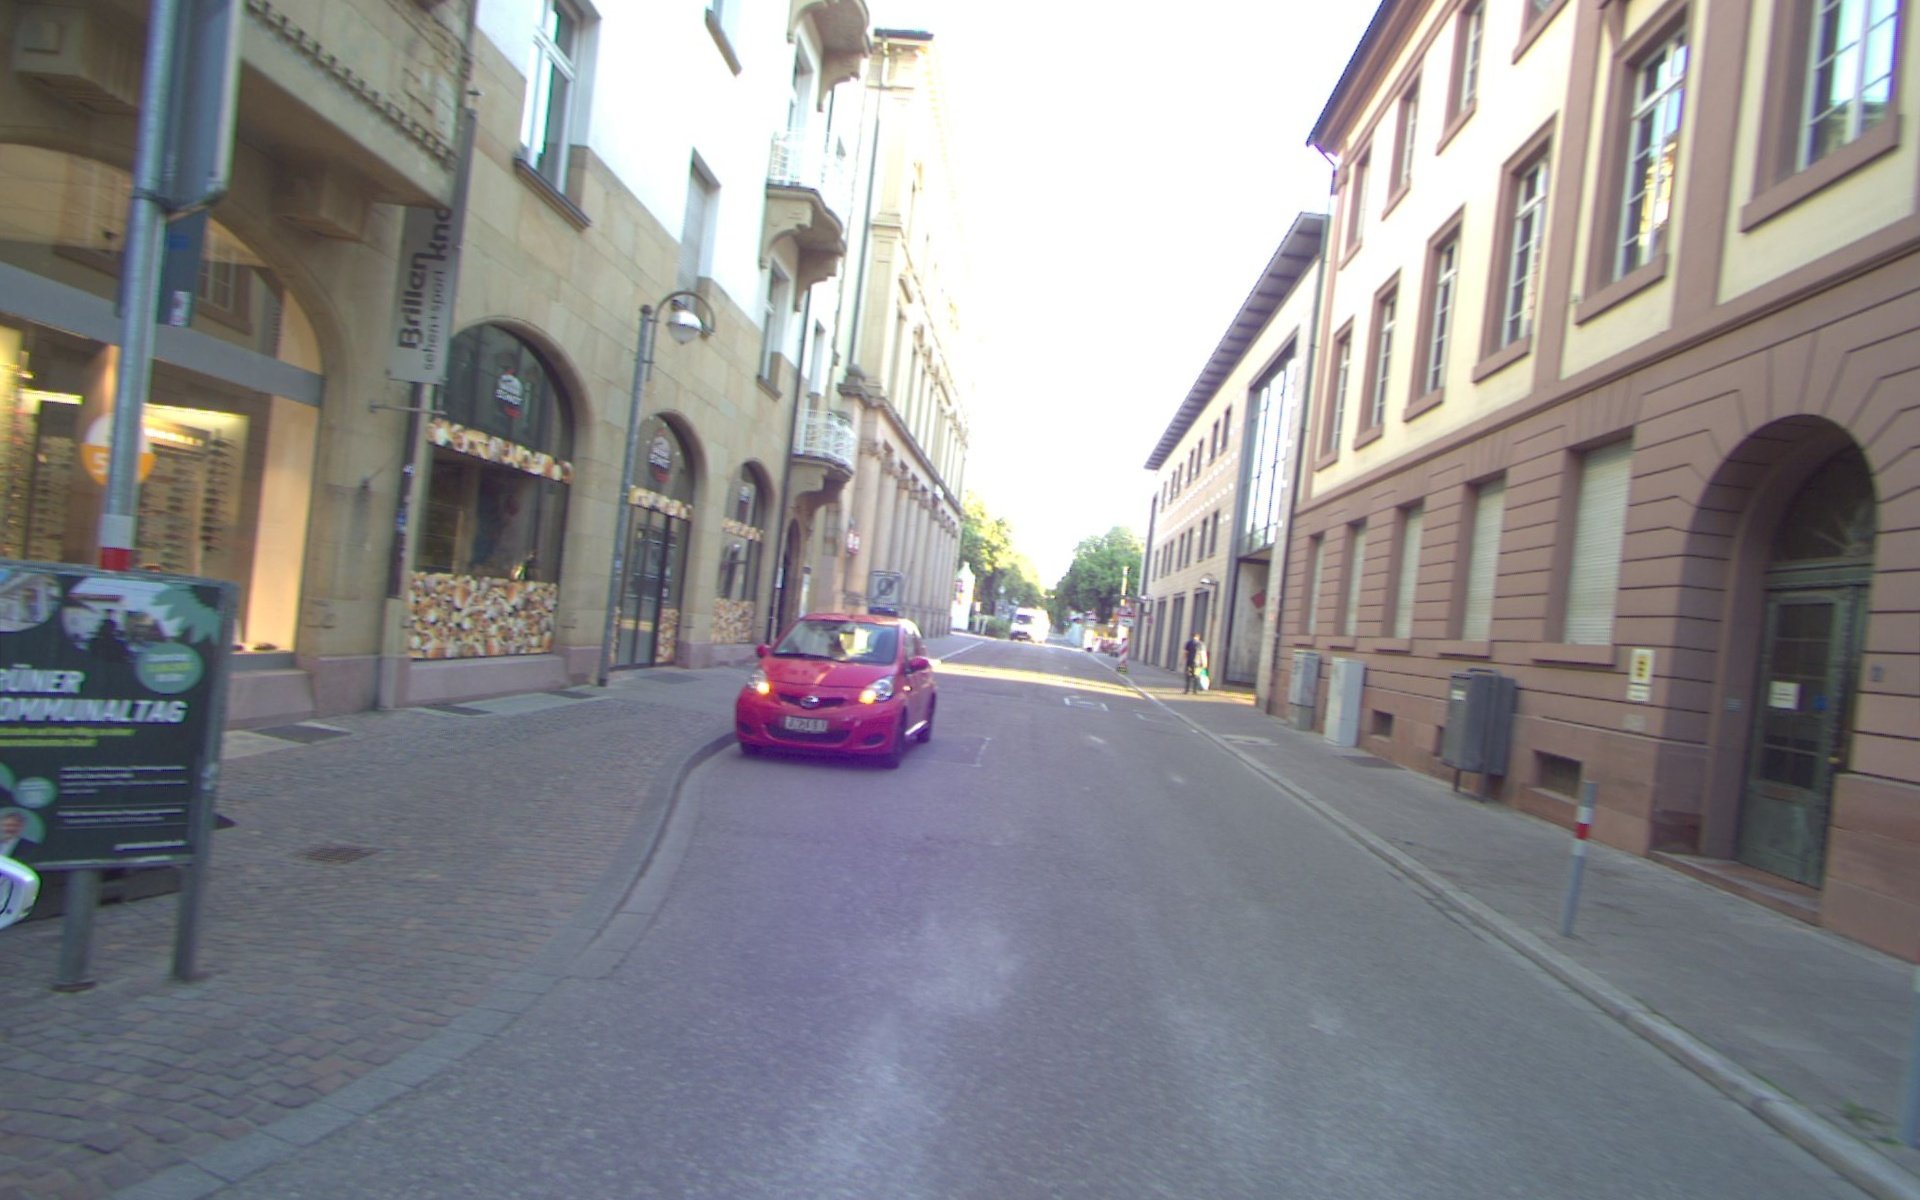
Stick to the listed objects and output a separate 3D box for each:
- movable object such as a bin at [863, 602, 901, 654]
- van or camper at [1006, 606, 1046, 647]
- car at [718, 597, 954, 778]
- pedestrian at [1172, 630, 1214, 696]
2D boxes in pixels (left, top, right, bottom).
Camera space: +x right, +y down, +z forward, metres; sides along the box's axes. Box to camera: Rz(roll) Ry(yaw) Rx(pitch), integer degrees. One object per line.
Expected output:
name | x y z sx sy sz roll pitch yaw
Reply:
movable object such as a bin | -2.455 0.887 31.884 0.816 1.521 1.291 8 0 6
van or camper | 4.994 1.993 75.287 2.184 2.616 6.376 7 -1 9
car | -1.138 0.835 11.010 1.631 1.488 3.934 4 -1 6
pedestrian | 6.718 1.802 29.054 0.984 1.825 0.882 3 -1 4
